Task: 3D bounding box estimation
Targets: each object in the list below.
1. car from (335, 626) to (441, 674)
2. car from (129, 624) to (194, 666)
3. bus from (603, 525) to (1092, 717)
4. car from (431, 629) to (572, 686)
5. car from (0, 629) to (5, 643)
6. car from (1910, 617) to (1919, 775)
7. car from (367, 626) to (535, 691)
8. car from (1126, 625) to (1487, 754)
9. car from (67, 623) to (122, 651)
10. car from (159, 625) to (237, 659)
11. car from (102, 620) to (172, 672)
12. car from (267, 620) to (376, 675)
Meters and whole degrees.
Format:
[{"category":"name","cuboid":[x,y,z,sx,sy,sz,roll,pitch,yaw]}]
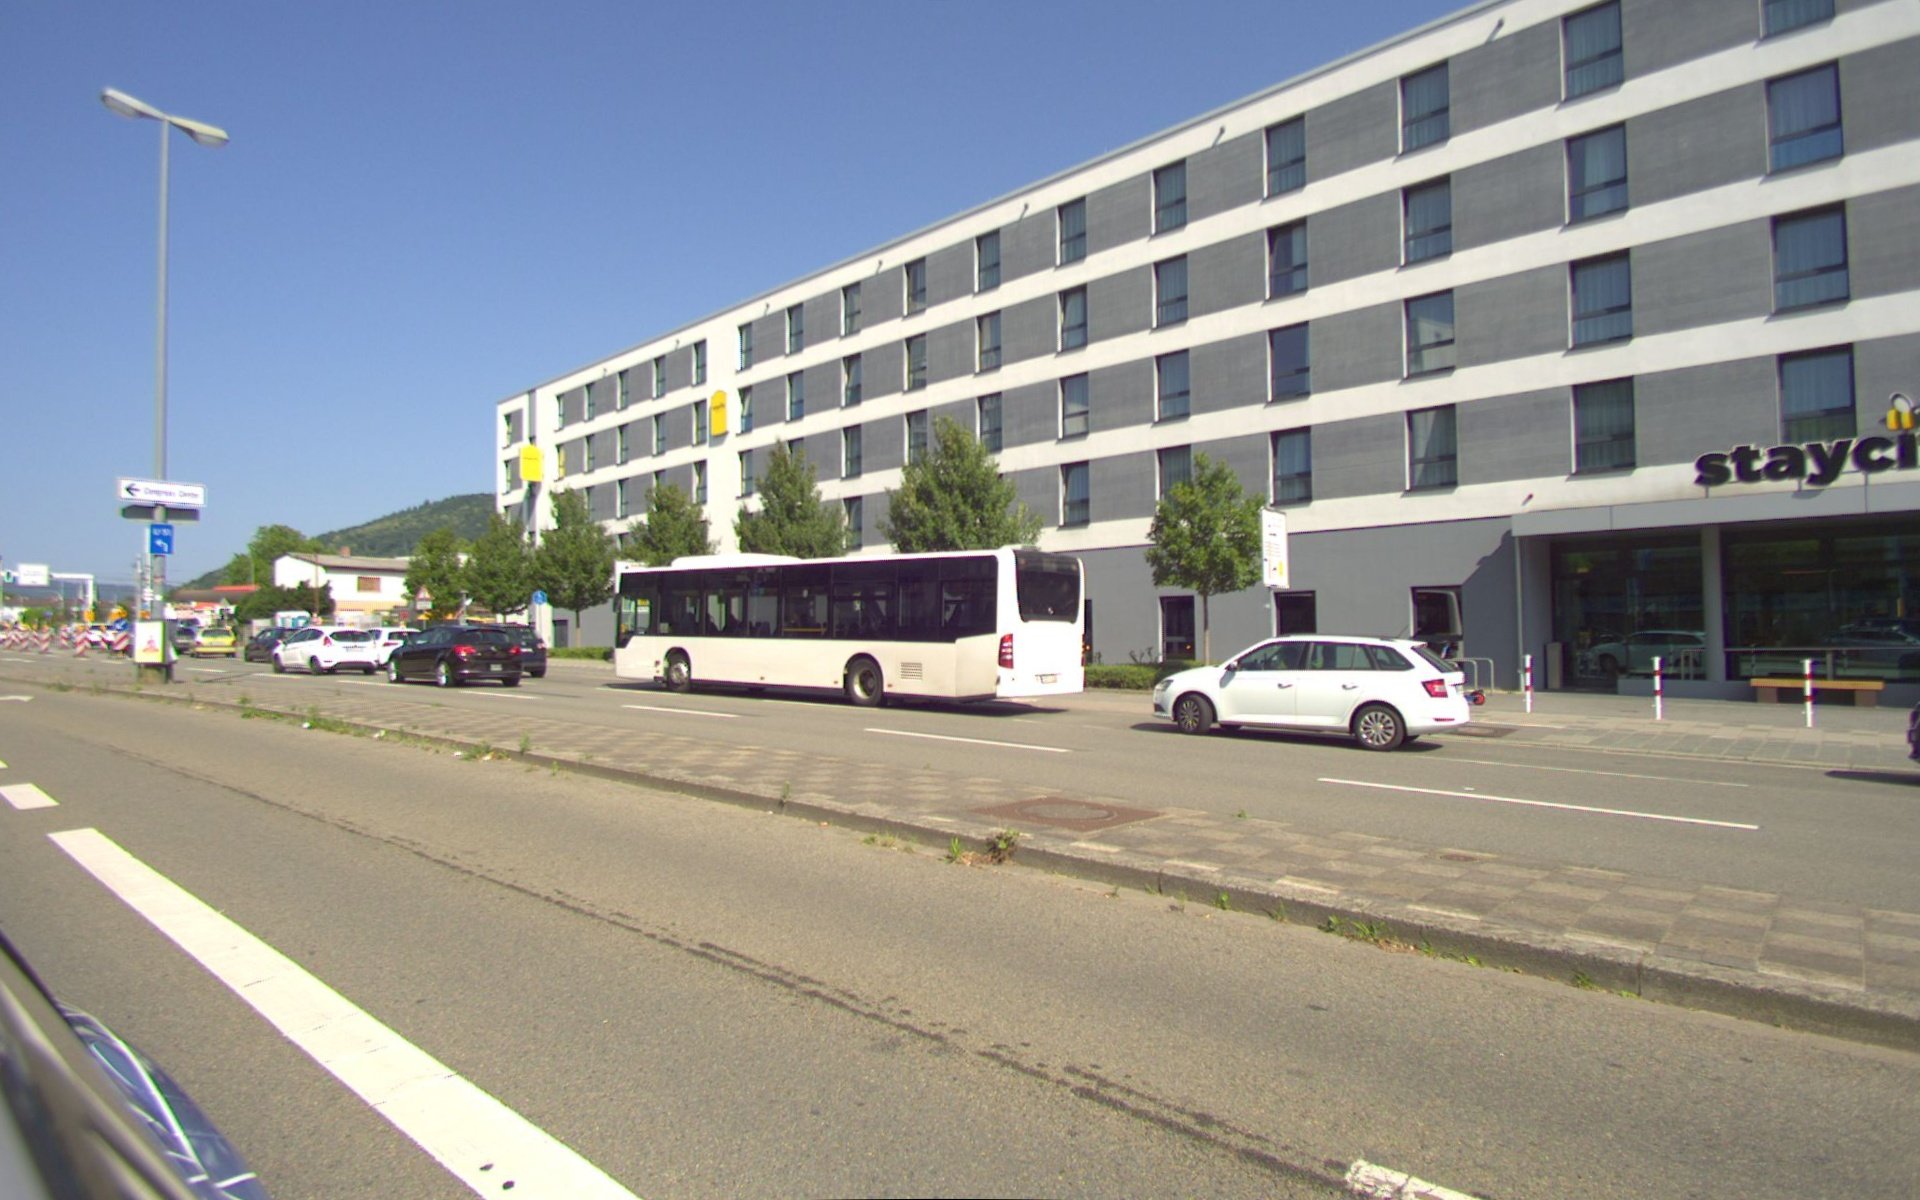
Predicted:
[{"category":"car","cuboid":[-19.771,1.688,34.949,3.973,1.550,1.835,-1,-2,39]},{"category":"car","cuboid":[-41.889,2.296,53.082,3.998,2.029,1.973,0,0,41]},{"category":"bus","cuboid":[-3.024,0.490,21.285,11.966,3.102,2.710,-1,-4,40]},{"category":"car","cuboid":[-13.724,1.652,30.177,4.888,1.534,1.973,-1,-2,41]},{"category":"car","cuboid":[-92.464,3.434,96.238,3.932,1.346,1.794,-1,-2,37]},{"category":"car","cuboid":[11.603,0.981,9.055,4.411,1.590,1.972,-1,-5,42]},{"category":"car","cuboid":[-12.601,1.359,24.918,4.887,1.443,1.973,-1,-2,40]},{"category":"car","cuboid":[4.758,1.154,14.117,4.403,1.497,1.976,0,-4,36]},{"category":"car","cuboid":[-56.207,2.396,65.685,4.888,1.725,1.973,-1,-2,41]},{"category":"car","cuboid":[-36.065,1.965,47.870,4.888,1.534,1.973,-1,-2,41]},{"category":"car","cuboid":[-35.585,1.937,43.725,4.162,2.029,1.658,0,0,41]},{"category":"car","cuboid":[-19.152,1.361,30.311,3.999,1.462,1.740,0,0,42]}]
